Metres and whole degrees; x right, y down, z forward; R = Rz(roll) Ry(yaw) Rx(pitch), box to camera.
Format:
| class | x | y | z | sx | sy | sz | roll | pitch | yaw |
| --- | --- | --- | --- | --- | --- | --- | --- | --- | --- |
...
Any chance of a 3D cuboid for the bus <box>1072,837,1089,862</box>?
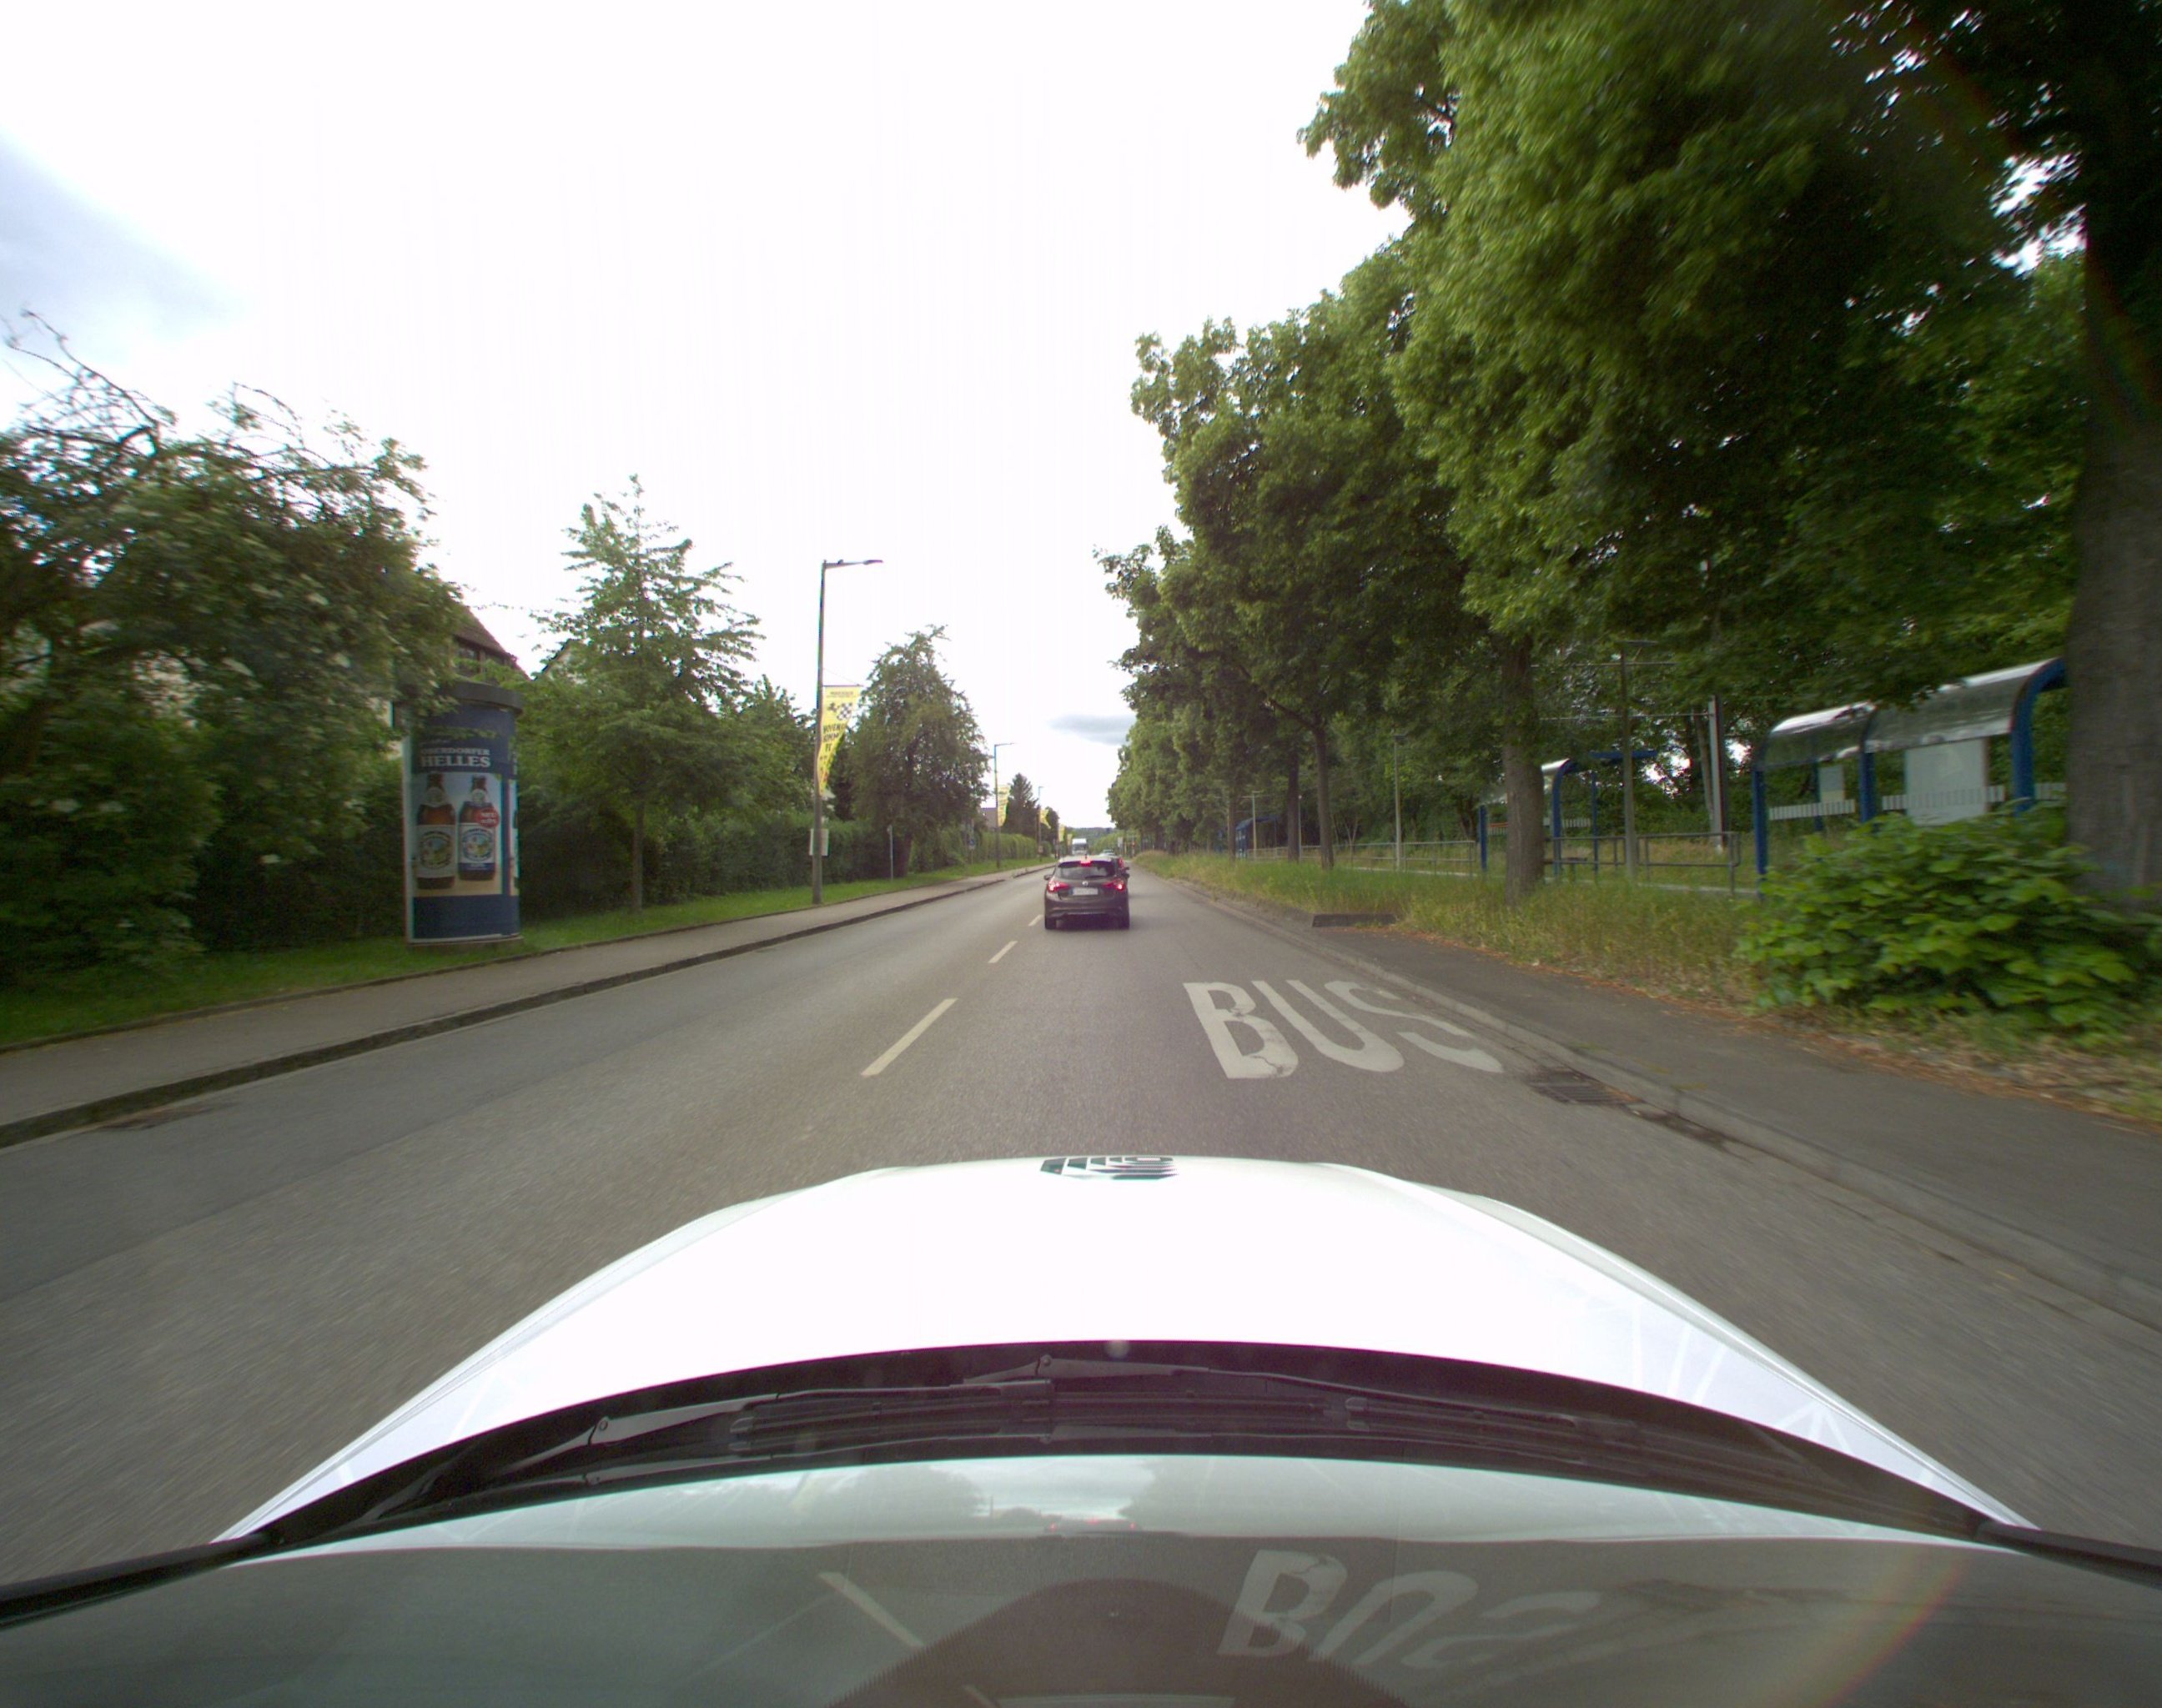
| class | x | y | z | sx | sy | sz | roll | pitch | yaw |
| --- | --- | --- | --- | --- | --- | --- | --- | --- | --- |
| bus | -0.053 | -0.671 | 137.760 | 2.478 | 4.025 | 10.220 | -1 | 0 | 2 |

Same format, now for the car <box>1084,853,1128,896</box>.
| class | x | y | z | sx | sy | sz | roll | pitch | yaw |
| --- | --- | --- | --- | --- | --- | --- | --- | --- | --- |
| car | 0.908 | 0.722 | 29.585 | 1.496 | 1.441 | 3.542 | -1 | 0 | 1 |

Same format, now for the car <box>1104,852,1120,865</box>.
| class | x | y | z | sx | sy | sz | roll | pitch | yaw |
| --- | --- | --- | --- | --- | --- | --- | --- | --- | --- |
| car | 3.497 | 0.468 | 92.111 | 1.685 | 1.441 | 3.542 | -1 | 0 | 1 |

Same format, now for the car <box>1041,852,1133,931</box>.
| class | x | y | z | sx | sy | sz | roll | pitch | yaw |
| --- | --- | --- | --- | --- | --- | --- | --- | --- | --- |
| car | 0.181 | 0.765 | 18.165 | 1.777 | 1.507 | 3.697 | -2 | -1 | 2 |

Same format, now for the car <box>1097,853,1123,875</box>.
| class | x | y | z | sx | sy | sz | roll | pitch | yaw |
| --- | --- | --- | --- | --- | --- | --- | --- | --- | --- |
| car | 1.971 | 0.646 | 55.553 | 1.685 | 1.441 | 3.542 | -1 | 0 | 1 |
